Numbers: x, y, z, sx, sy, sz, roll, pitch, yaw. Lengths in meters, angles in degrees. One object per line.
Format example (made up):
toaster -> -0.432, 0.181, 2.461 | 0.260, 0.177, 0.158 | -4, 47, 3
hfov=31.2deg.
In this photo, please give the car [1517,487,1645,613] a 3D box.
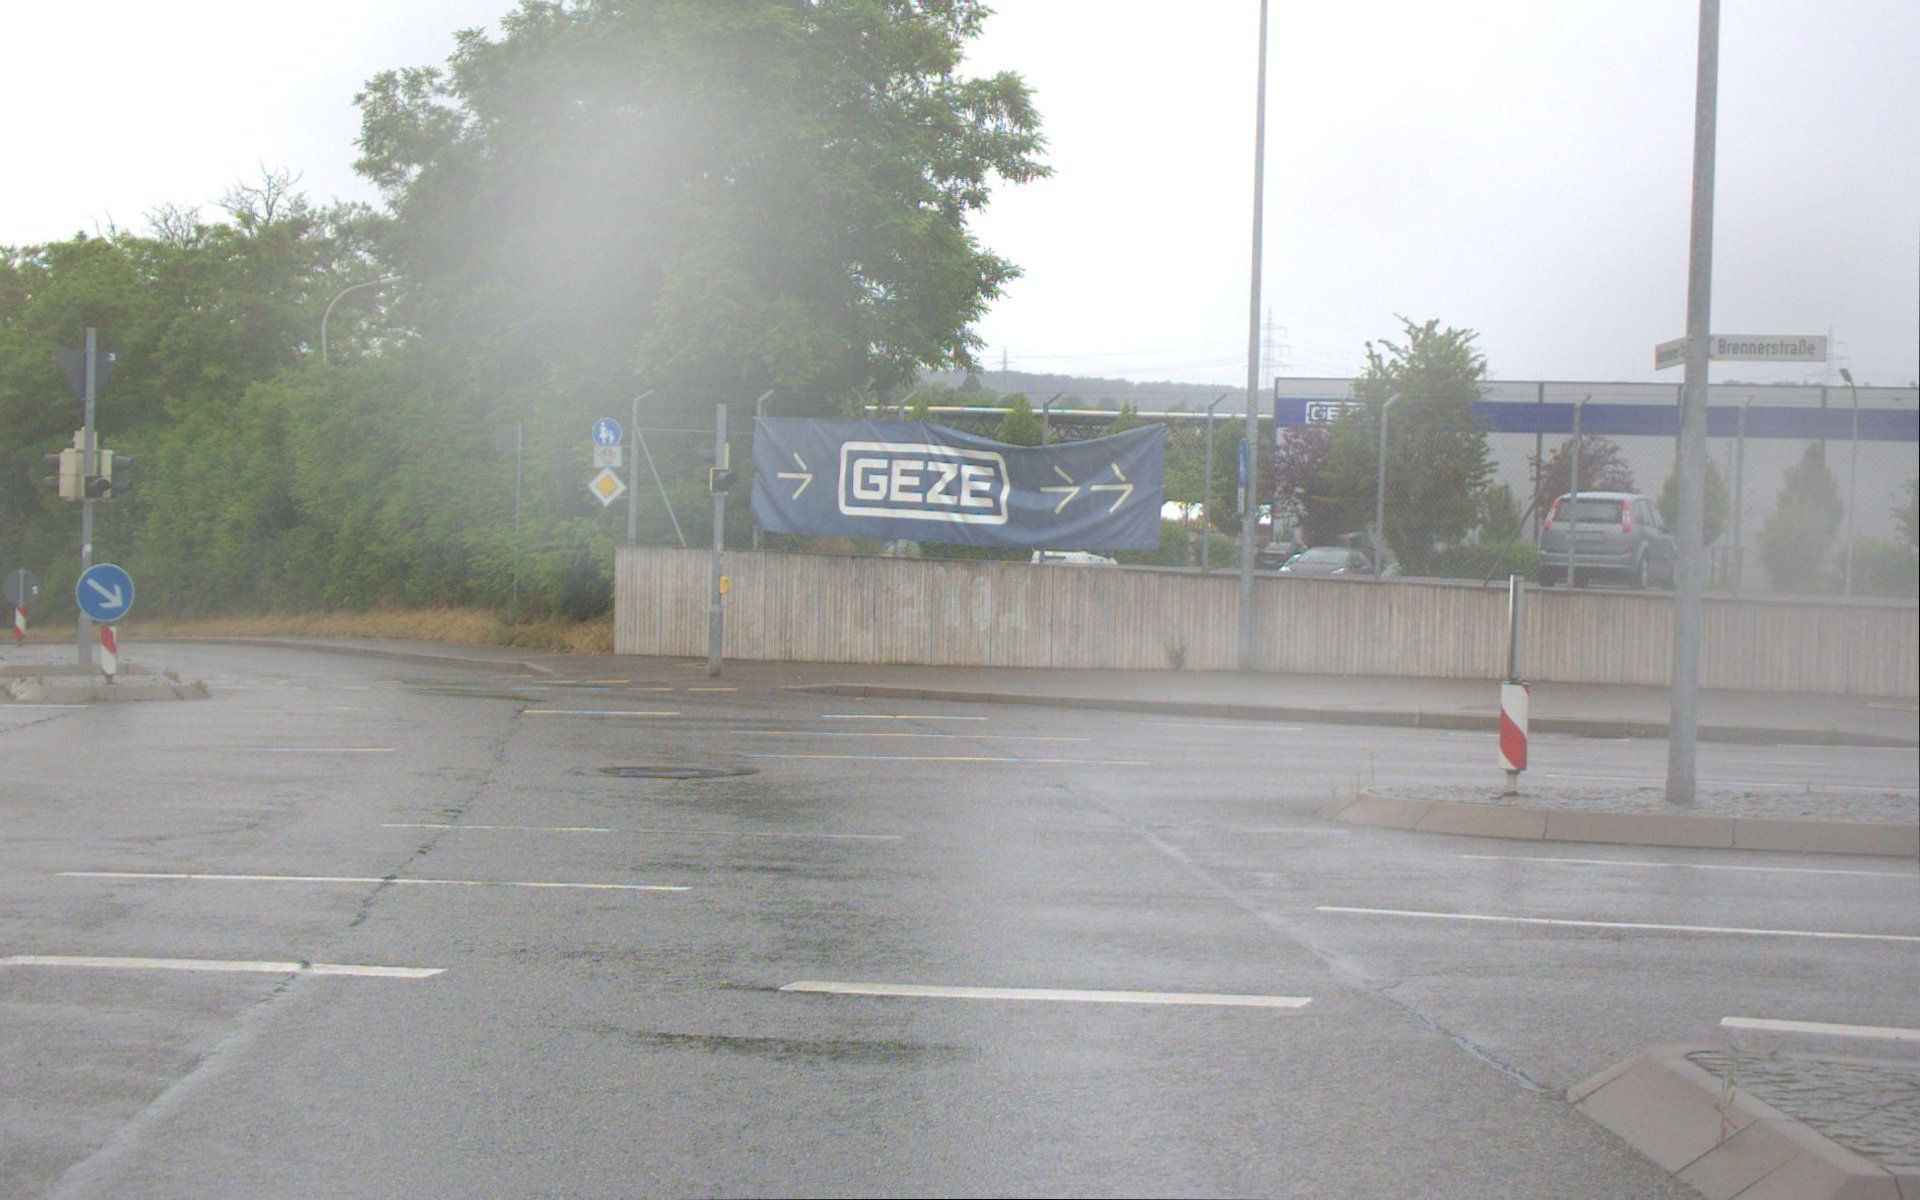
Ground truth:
car -> 10.451, -0.844, 57.685 | 1.994, 2.007, 3.998 | 1, 1, 11
